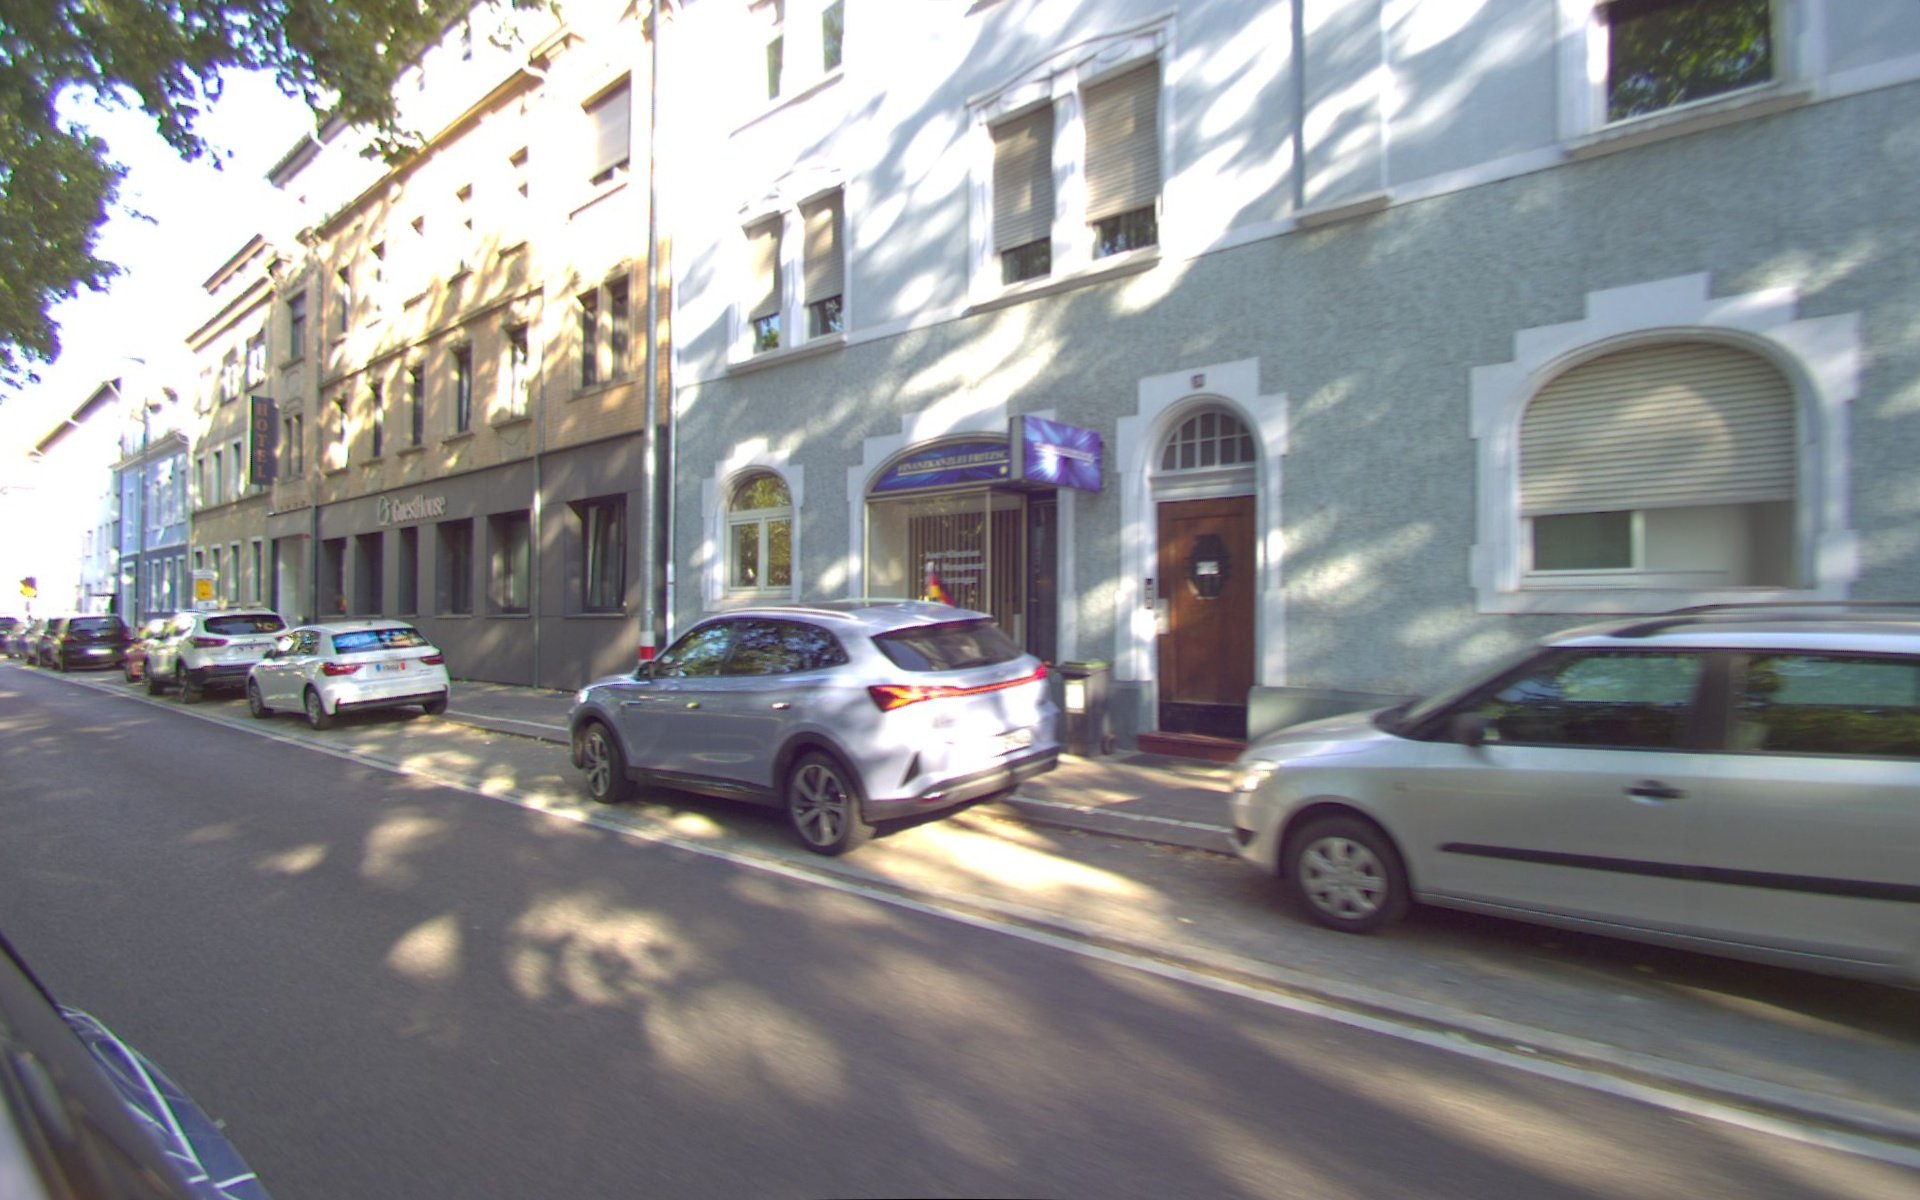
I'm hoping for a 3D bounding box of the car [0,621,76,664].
[{"bbox_3d":[-35.151,1.582,38.497,4.259,1.498,1.633,-1,0,40],"label":"car"}]

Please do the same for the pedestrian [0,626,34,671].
[{"bbox_3d":[-33.200,1.699,35.607,0.706,1.582,0.853,-2,-2,44],"label":"pedestrian"}]

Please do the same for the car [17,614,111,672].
[{"bbox_3d":[-28.375,1.320,32.025,4.155,1.685,1.763,-1,0,42],"label":"car"}]

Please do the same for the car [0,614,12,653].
[{"bbox_3d":[-47.111,1.603,48.912,4.005,1.832,1.646,-1,0,43],"label":"car"}]

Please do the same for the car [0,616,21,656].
[{"bbox_3d":[-43.059,1.597,44.904,4.495,1.685,1.884,-1,0,45],"label":"car"}]

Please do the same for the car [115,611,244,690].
[{"bbox_3d":[-17.699,1.081,22.884,3.755,1.604,1.660,-1,0,42],"label":"car"}]

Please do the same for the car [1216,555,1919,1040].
[{"bbox_3d":[3.357,0.675,4.494,3.983,1.654,1.660,-1,0,42],"label":"car"}]

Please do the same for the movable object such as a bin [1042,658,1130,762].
[{"bbox_3d":[1.240,1.059,9.982,0.669,0.954,0.551,-1,-3,41],"label":"movable object such as a bin"}]

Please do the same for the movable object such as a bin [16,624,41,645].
[{"bbox_3d":[-58.746,2.151,63.807,1.018,1.296,1.064,2,-2,-37],"label":"movable object such as a bin"}]

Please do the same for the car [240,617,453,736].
[{"bbox_3d":[-9.200,1.033,15.061,3.870,1.507,1.660,-1,0,42],"label":"car"}]

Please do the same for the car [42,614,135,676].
[{"bbox_3d":[-24.811,1.241,28.769,3.706,1.617,1.659,-1,0,44],"label":"car"}]

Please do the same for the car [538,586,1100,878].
[{"bbox_3d":[-1.345,0.773,7.985,4.576,1.654,1.888,-1,0,42],"label":"car"}]

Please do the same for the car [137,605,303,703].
[{"bbox_3d":[-13.790,0.923,18.780,4.199,1.597,1.660,-1,0,42],"label":"car"}]
